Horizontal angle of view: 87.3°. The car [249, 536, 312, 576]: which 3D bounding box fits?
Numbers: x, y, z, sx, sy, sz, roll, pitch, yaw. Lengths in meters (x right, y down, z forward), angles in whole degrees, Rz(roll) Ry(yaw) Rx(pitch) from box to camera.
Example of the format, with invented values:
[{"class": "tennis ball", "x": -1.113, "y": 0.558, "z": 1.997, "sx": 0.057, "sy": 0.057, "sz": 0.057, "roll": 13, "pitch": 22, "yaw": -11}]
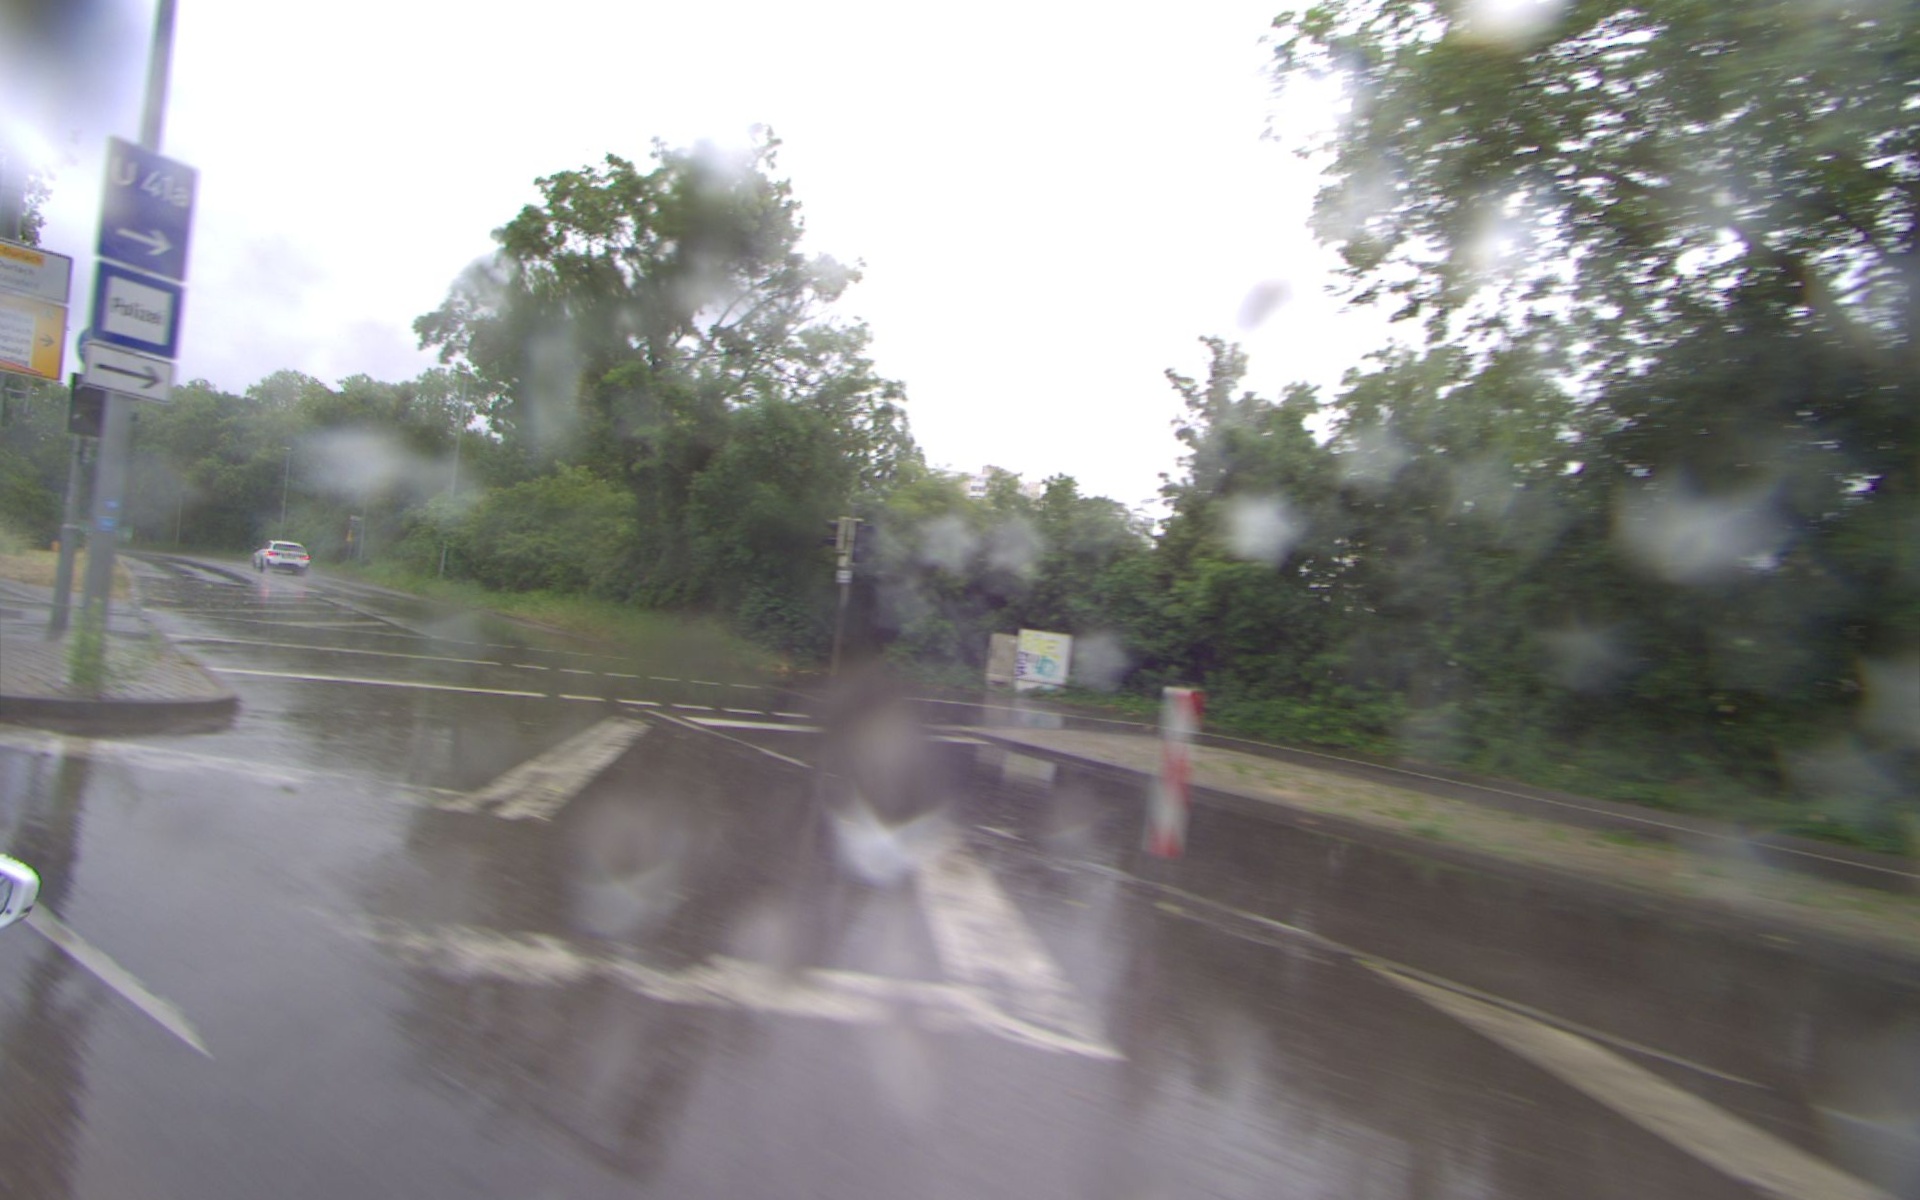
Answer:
[{"class": "car", "x": -31.263, "y": -2.028, "z": 46.242, "sx": 1.881, "sy": 1.448, "sz": 3.955, "roll": 8, "pitch": -1, "yaw": -41}]
